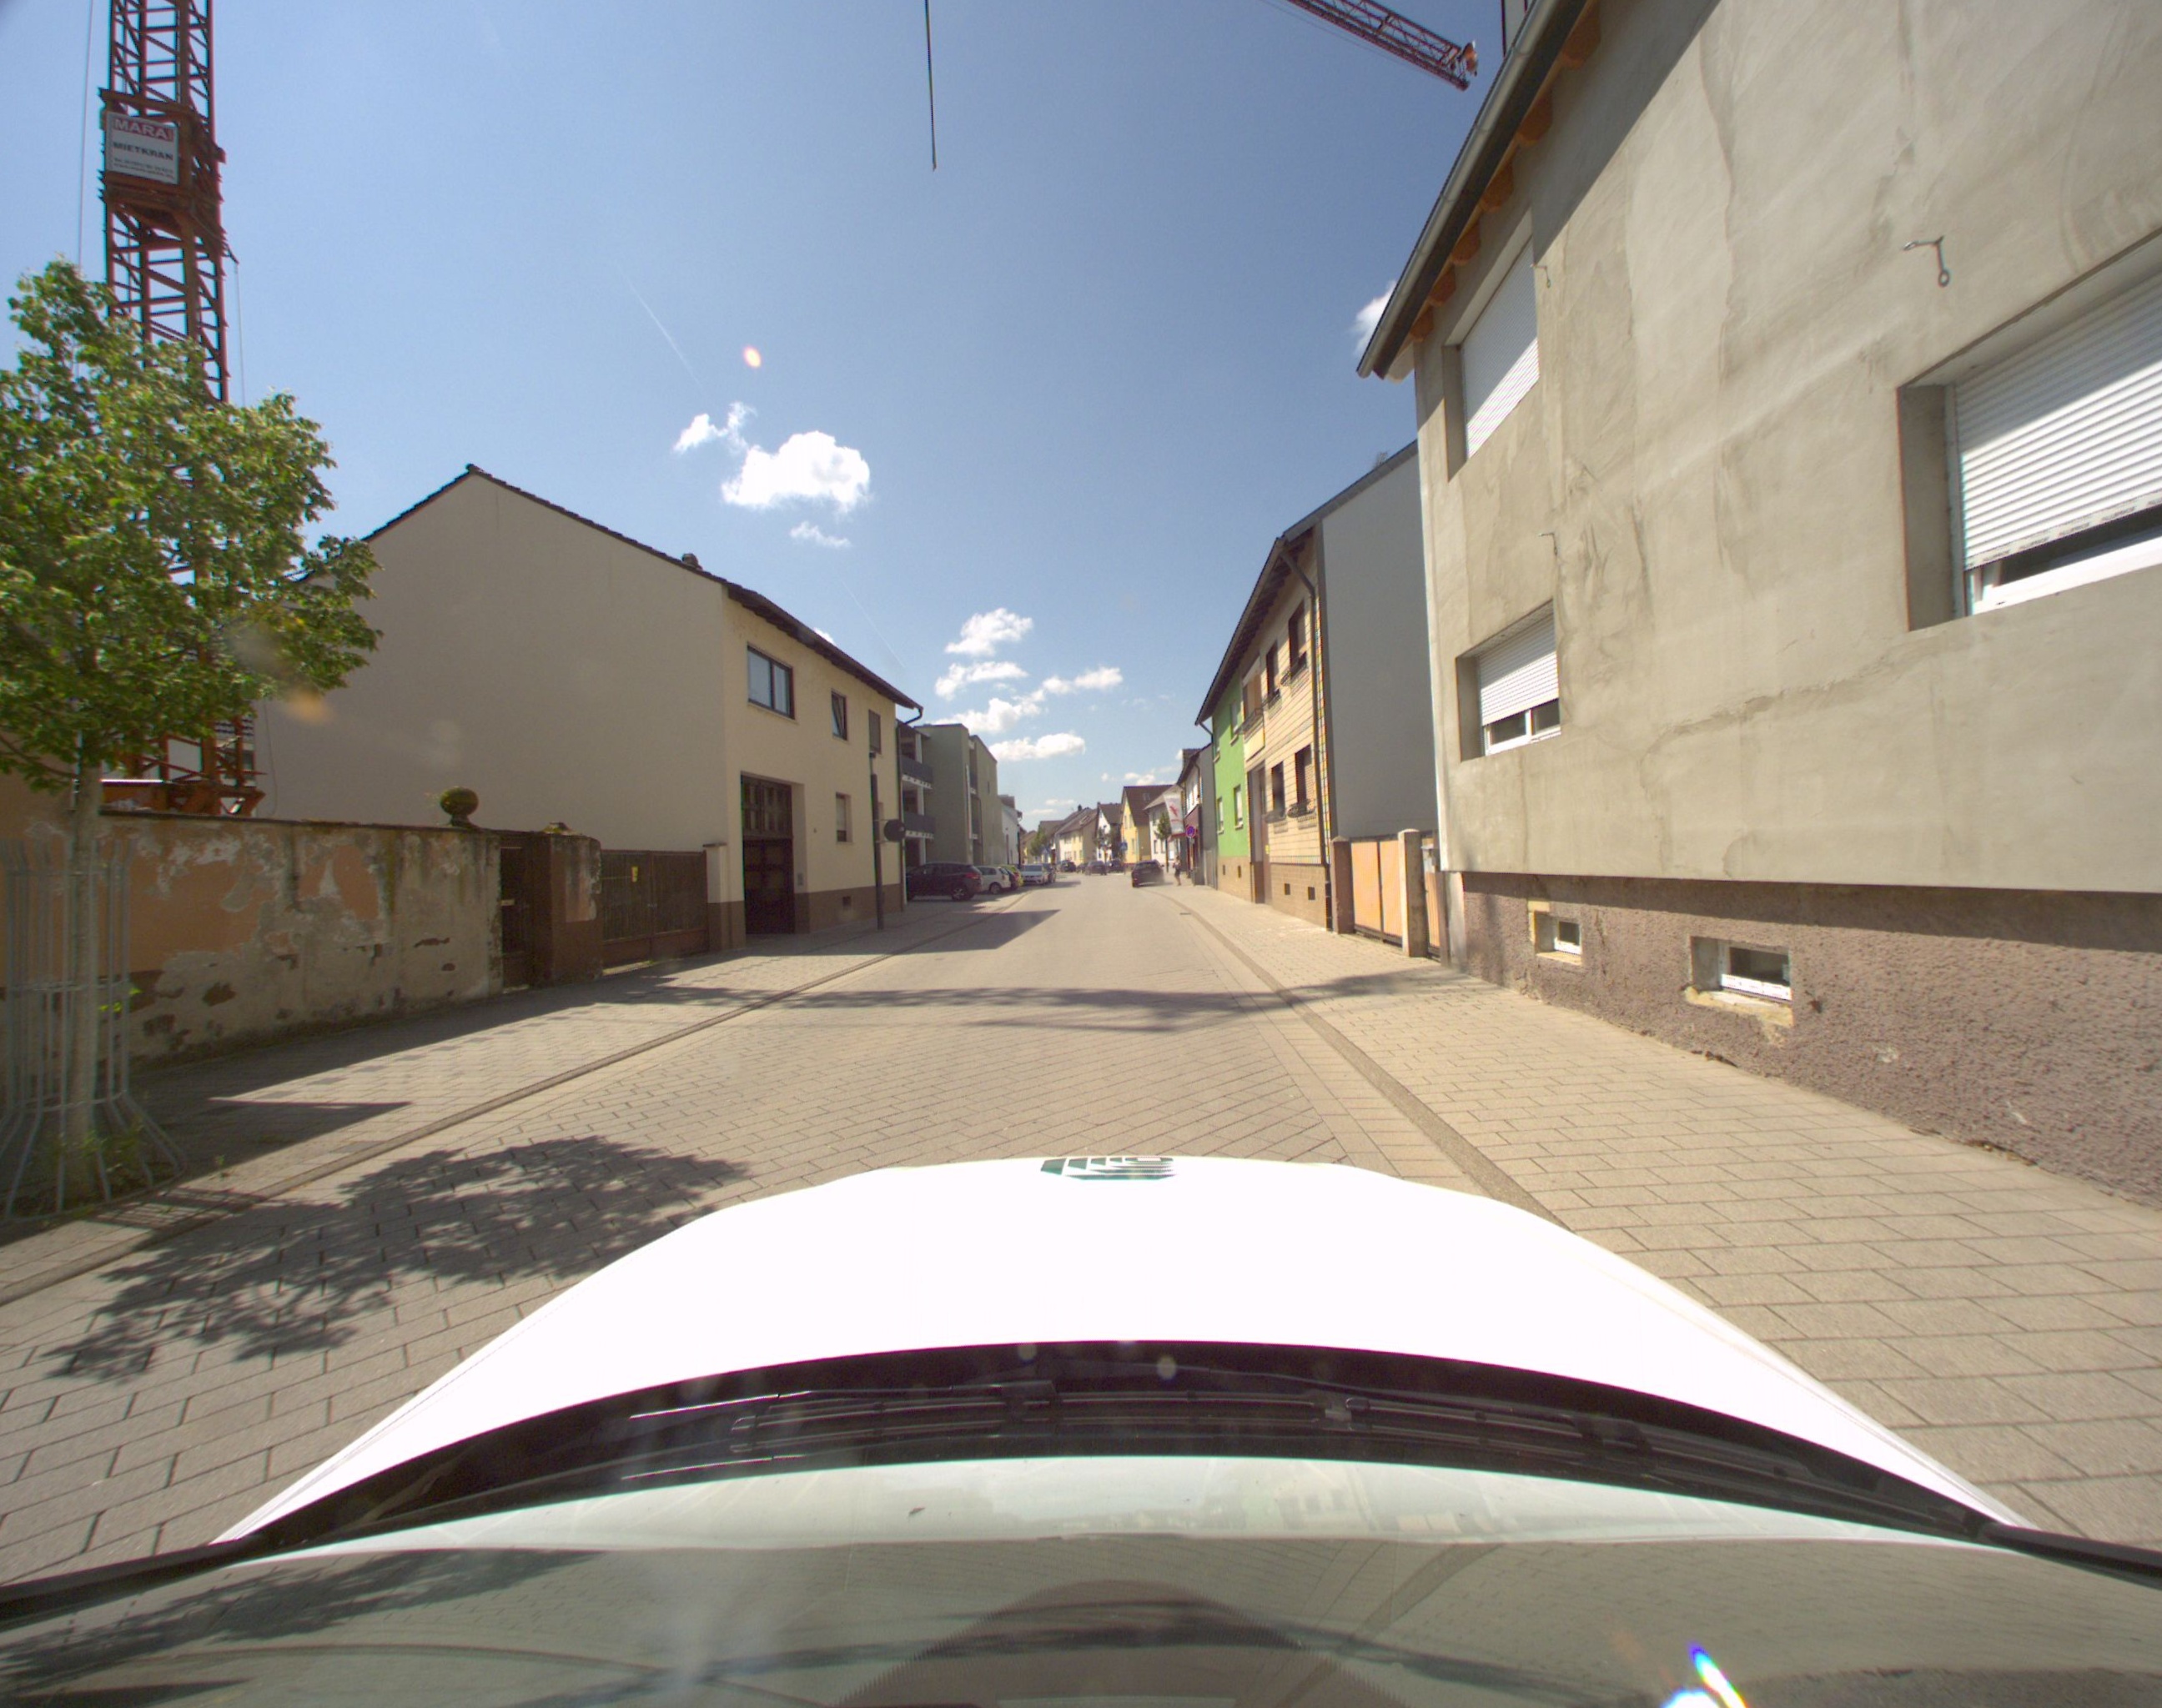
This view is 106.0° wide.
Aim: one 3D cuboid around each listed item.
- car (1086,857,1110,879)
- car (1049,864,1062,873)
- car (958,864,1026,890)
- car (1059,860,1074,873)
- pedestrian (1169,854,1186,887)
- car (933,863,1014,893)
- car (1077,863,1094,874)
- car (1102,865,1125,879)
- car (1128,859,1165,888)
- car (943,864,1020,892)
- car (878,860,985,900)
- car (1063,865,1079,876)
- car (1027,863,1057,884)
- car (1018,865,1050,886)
[{"bbox_3d":[1.675,1.403,82.185,1.990,2.058,4.366,-2,-1,-5],"label":"car"},{"bbox_3d":[-4.405,2.516,139.073,1.753,1.493,3.988,-2,-1,-8],"label":"car"},{"bbox_3d":[-5.214,1.334,47.940,3.675,1.525,1.674,0,-1,4],"label":"car"},{"bbox_3d":[-2.357,1.999,130.018,1.906,1.872,3.988,-2,-1,-8],"label":"car"},{"bbox_3d":[5.004,0.867,42.222,0.726,1.640,0.750,-5,-2,6],"label":"pedestrian"},{"bbox_3d":[-5.596,1.249,42.736,3.882,1.502,1.753,0,-1,5],"label":"car"},{"bbox_3d":[0.548,1.952,110.671,1.710,1.387,3.695,-2,-1,-8],"label":"car"},{"bbox_3d":[3.729,2.065,93.795,1.828,1.471,4.263,-4,-1,-8],"label":"car"},{"bbox_3d":[3.780,1.091,46.600,1.848,1.459,4.594,-4,-1,6],"label":"car"},{"bbox_3d":[-5.470,1.316,45.106,3.970,1.442,1.692,1,-1,3],"label":"car"},{"bbox_3d":[-6.346,1.107,34.940,4.202,1.658,1.785,0,-1,2],"label":"car"},{"bbox_3d":[-1.508,2.488,124.633,1.876,1.591,3.988,-2,-1,-8],"label":"car"},{"bbox_3d":[-2.906,1.451,62.017,1.805,1.490,4.281,0,-1,4],"label":"car"},{"bbox_3d":[-3.219,1.470,56.111,1.750,1.411,3.881,0,-1,4],"label":"car"}]
